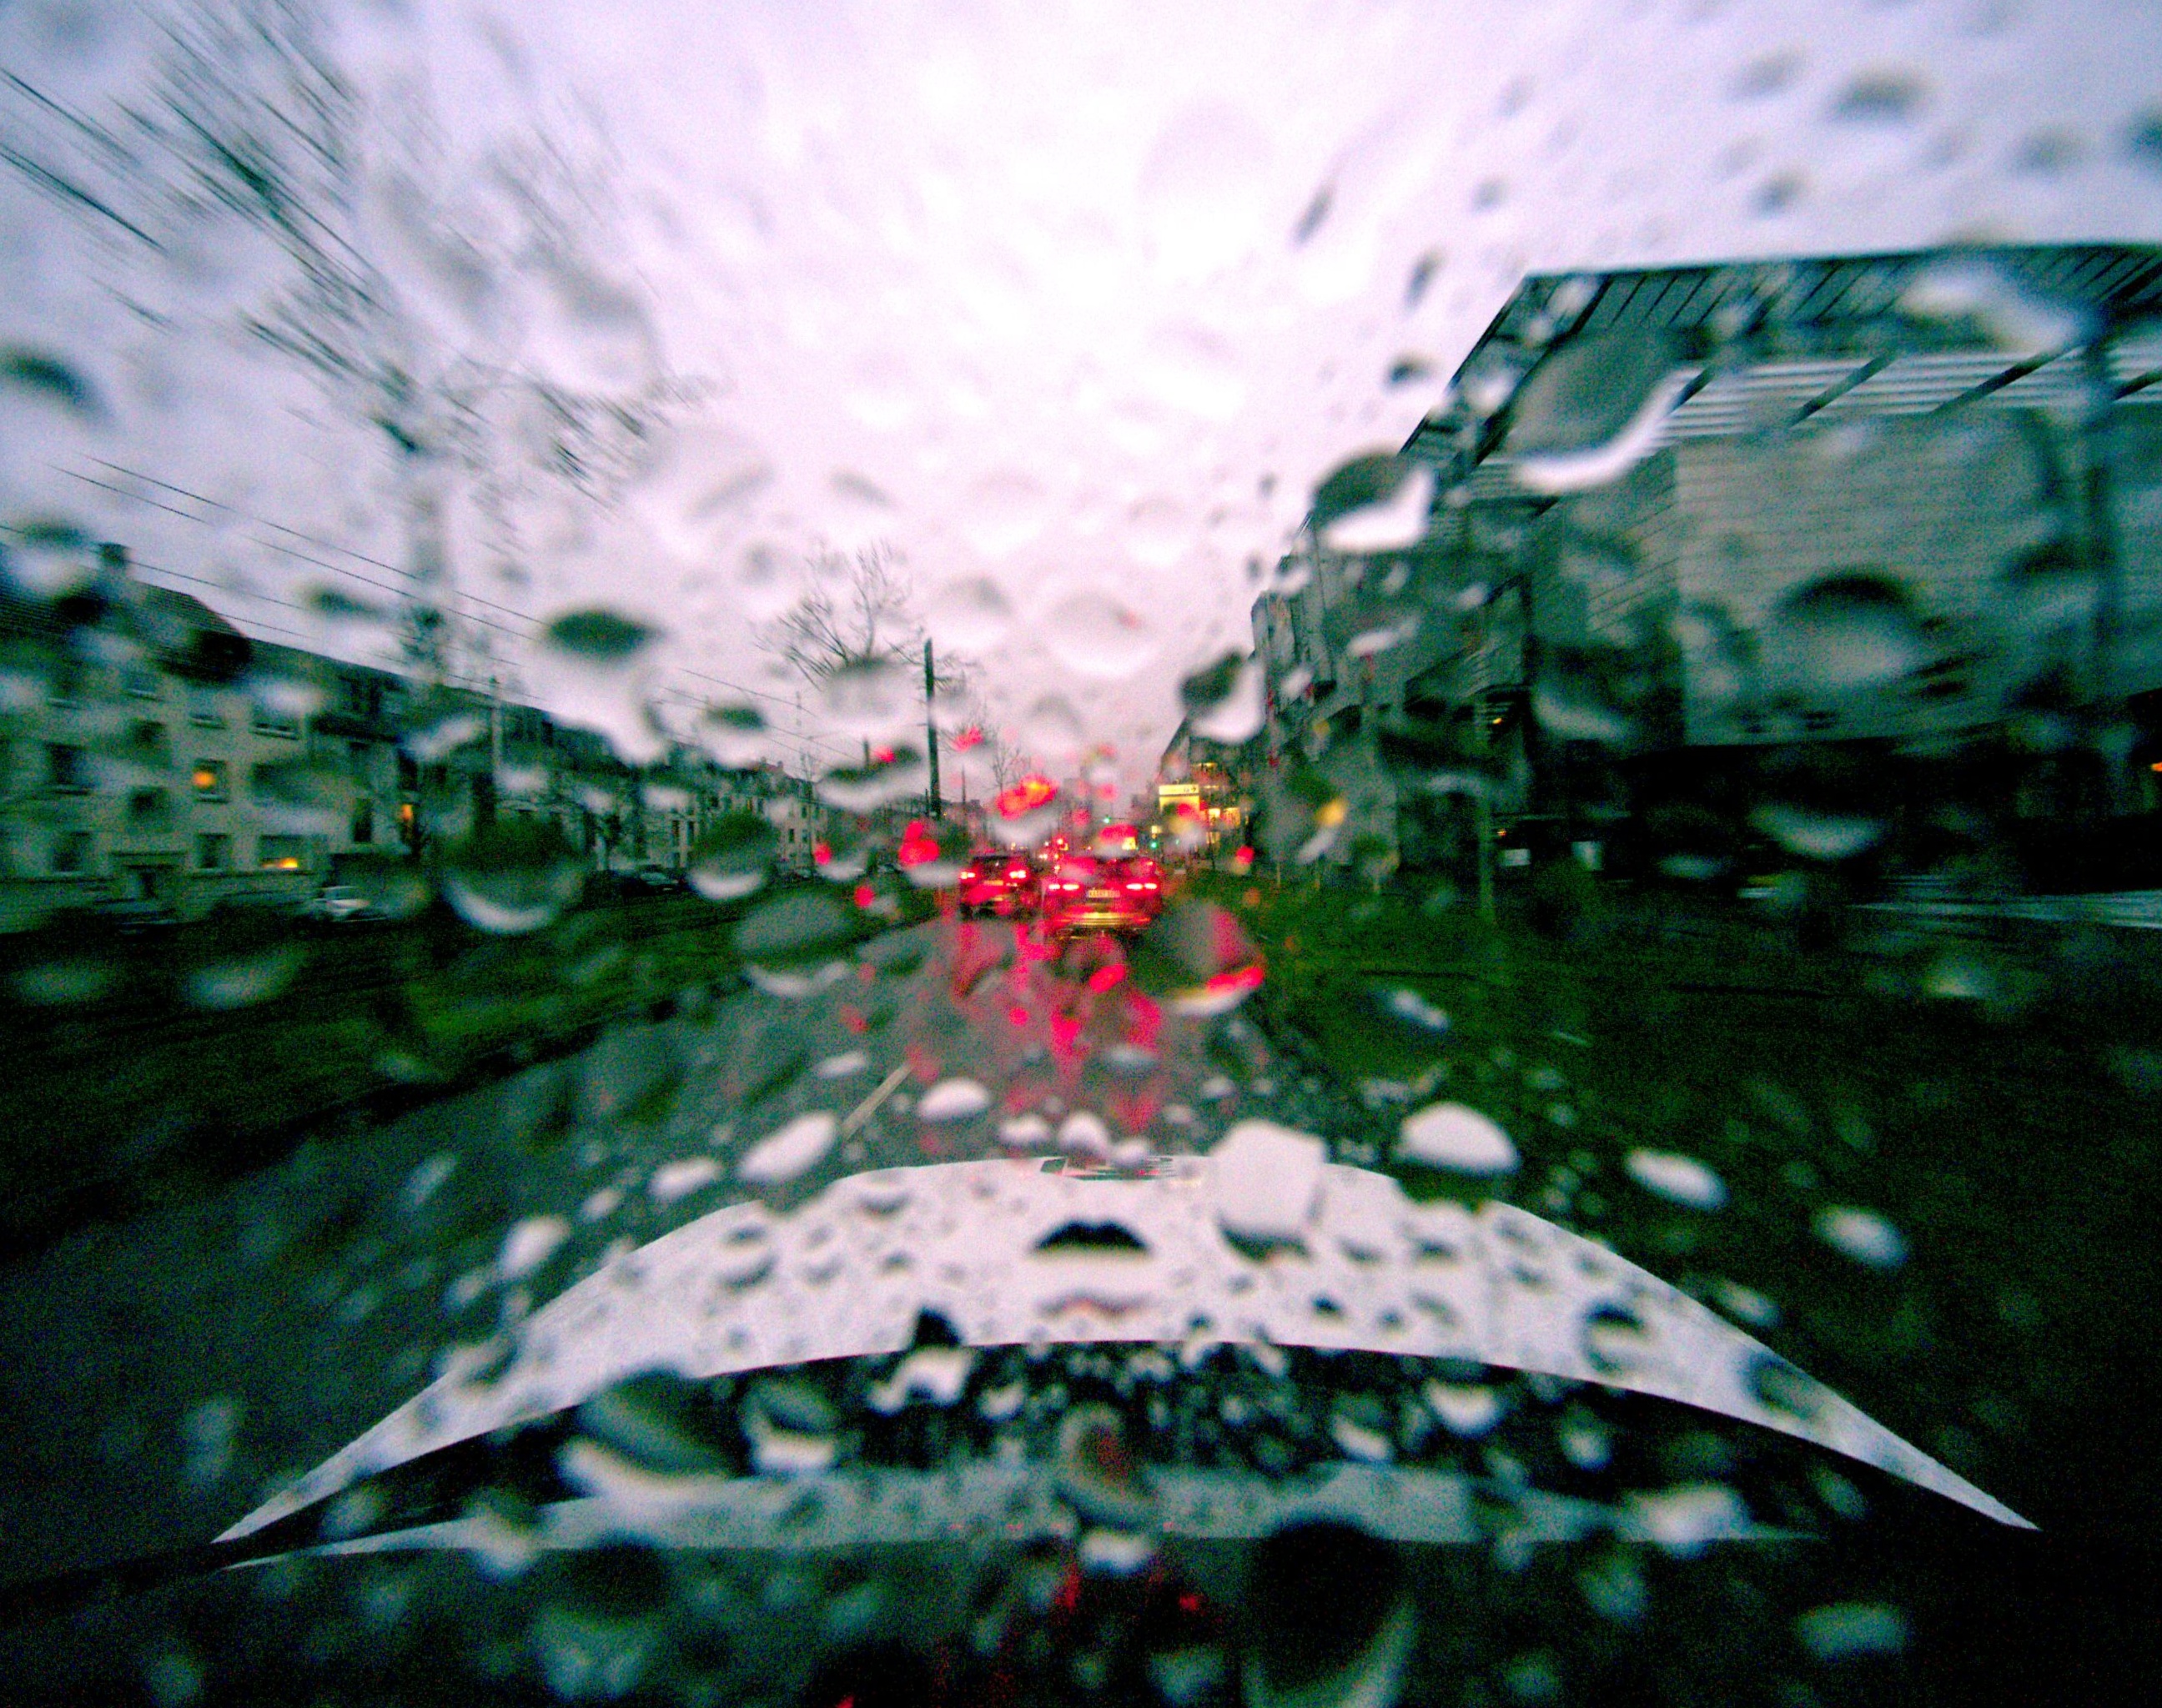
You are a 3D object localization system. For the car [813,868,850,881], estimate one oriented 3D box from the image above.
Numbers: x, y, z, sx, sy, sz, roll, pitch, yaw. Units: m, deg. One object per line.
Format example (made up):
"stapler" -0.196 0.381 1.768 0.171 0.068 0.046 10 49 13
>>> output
"car" -24.842 2.021 81.023 3.374 1.147 1.702 0 0 33

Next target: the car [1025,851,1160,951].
"car" 0.223 0.711 13.973 1.986 1.483 3.701 0 0 1

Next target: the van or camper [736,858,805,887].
"van or camper" -26.419 1.494 69.064 6.792 2.360 2.013 0 0 35

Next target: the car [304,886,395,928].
"car" -26.295 1.855 29.261 3.794 1.245 1.749 0 0 37

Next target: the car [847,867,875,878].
"car" -24.686 2.068 91.453 3.005 1.147 1.406 0 0 32

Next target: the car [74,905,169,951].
"car" -27.008 2.042 22.921 2.361 1.048 1.446 0 1 34

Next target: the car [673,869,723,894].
"car" -26.124 1.850 55.527 3.801 1.588 1.753 0 0 43

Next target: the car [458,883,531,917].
"car" -26.191 2.030 36.389 2.899 1.336 1.749 0 0 34

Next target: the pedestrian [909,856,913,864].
"pedestrian" -25.733 0.871 123.143 0.348 1.184 0.429 0 -1 -39

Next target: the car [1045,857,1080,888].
"car" -0.980 0.976 44.230 1.683 1.635 3.475 0 0 1

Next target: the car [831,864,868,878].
"car" -25.055 1.825 88.046 4.071 1.378 1.784 0 0 38

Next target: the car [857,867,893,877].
"car" -23.923 2.065 94.439 4.135 1.116 1.692 0 0 32

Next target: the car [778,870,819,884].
"car" -25.966 2.121 74.856 3.495 1.212 1.759 0 0 33

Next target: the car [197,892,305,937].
"car" -26.603 1.875 26.073 3.772 1.172 1.749 0 0 34

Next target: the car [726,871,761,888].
"car" -25.789 1.956 62.266 2.852 1.204 1.397 0 0 43

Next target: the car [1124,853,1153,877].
"car" 3.888 0.733 54.905 1.858 1.543 3.615 0 0 5

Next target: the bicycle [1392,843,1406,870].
"bicycle" 15.485 0.127 39.694 0.406 1.284 1.755 -1 0 29

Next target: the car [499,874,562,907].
"car" -26.547 1.718 39.262 3.342 1.422 1.680 0 0 40

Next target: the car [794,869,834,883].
"car" -25.495 2.090 77.765 3.495 1.200 1.894 0 0 33

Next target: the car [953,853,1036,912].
"car" -2.257 0.694 22.198 1.812 1.450 3.999 0 0 0

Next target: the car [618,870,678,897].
"car" -26.185 1.738 49.182 4.109 1.541 1.680 0 0 38

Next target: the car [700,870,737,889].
"car" -26.674 1.880 59.864 3.058 1.302 1.397 0 0 43
